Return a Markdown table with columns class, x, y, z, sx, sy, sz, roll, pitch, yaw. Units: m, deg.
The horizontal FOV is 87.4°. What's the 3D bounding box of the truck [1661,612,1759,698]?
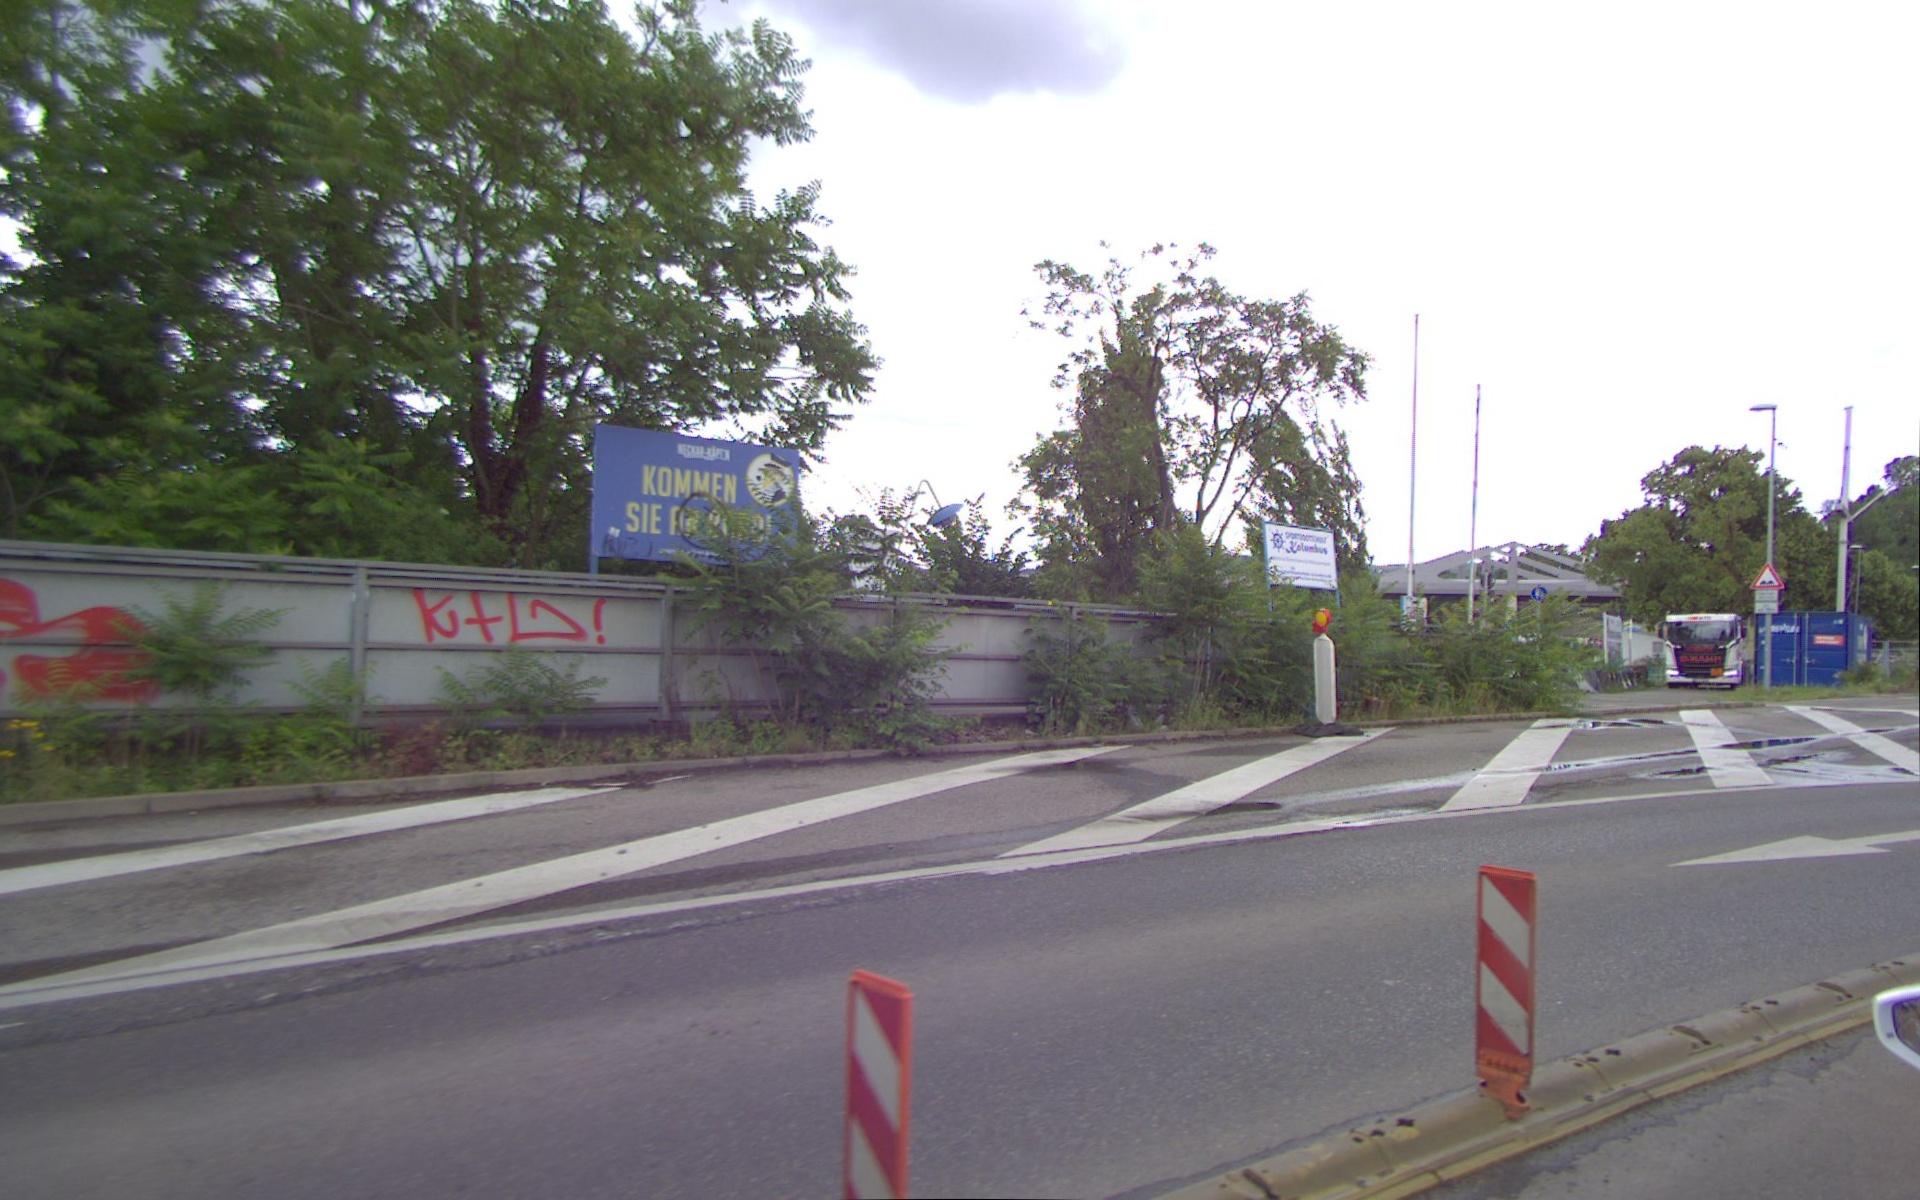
| class | x | y | z | sx | sy | sz | roll | pitch | yaw |
| --- | --- | --- | --- | --- | --- | --- | --- | --- | --- |
| truck | 32.683 | 2.356 | 43.619 | 2.761 | 3.380 | 8.435 | -1 | -3 | 41 |
